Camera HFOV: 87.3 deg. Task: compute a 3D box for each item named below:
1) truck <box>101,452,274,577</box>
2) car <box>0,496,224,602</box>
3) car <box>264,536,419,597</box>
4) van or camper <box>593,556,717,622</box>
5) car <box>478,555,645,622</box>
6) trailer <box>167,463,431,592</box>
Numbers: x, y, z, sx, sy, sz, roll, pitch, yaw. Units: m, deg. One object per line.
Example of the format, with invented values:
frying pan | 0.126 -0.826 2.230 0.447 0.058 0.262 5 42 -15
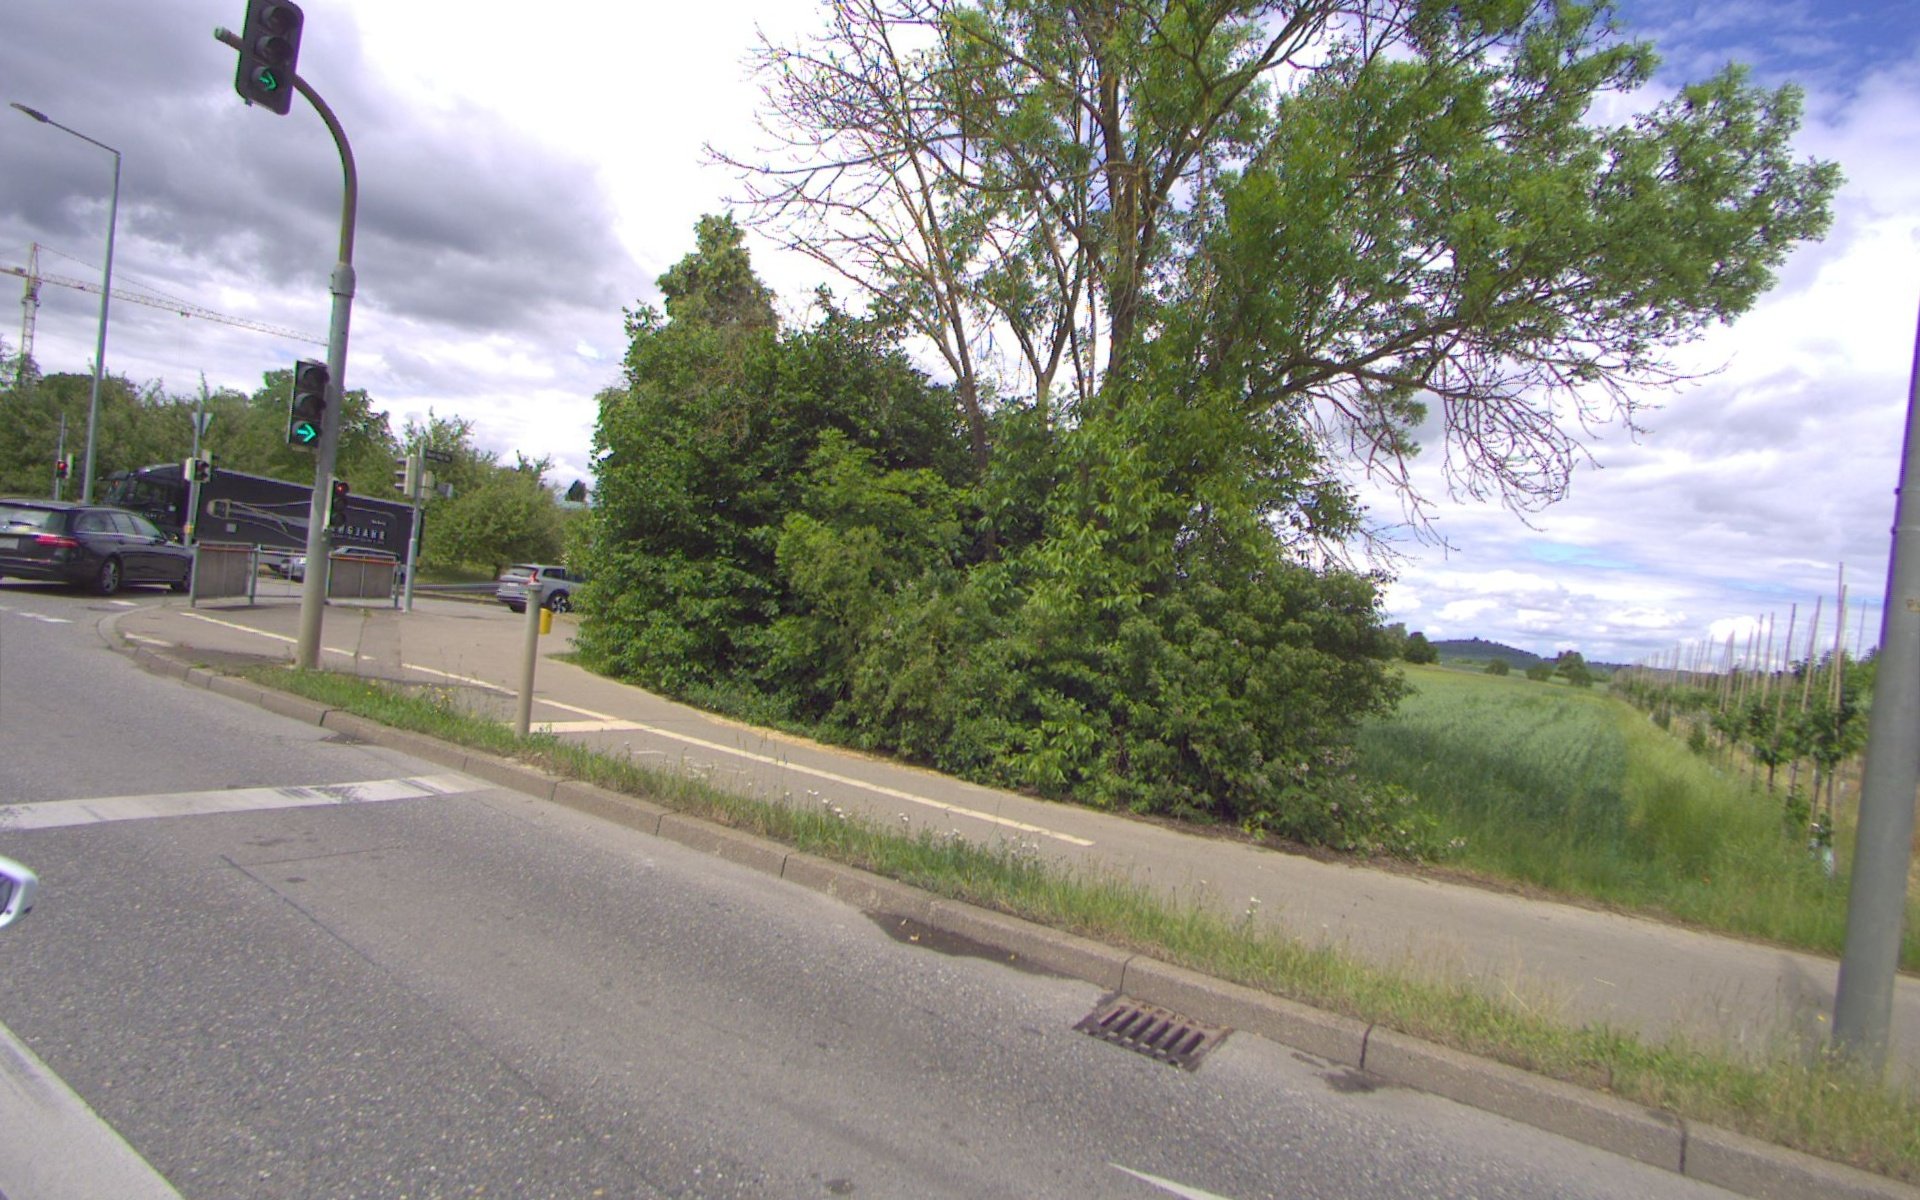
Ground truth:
truck | -26.056 -2.835 34.029 1.970 3.511 3.986 7 0 38
car | -15.140 -0.896 17.623 1.850 1.459 5.181 7 0 -16
car | -20.942 -1.100 34.180 1.970 1.437 3.987 7 -1 38
van or camper | -14.989 -0.472 49.919 2.210 2.563 5.932 7 -1 26
car | -11.808 -0.295 30.123 1.836 1.537 4.440 7 0 27
trailer | -23.912 -2.485 36.857 1.970 3.500 7.585 7 -1 37
